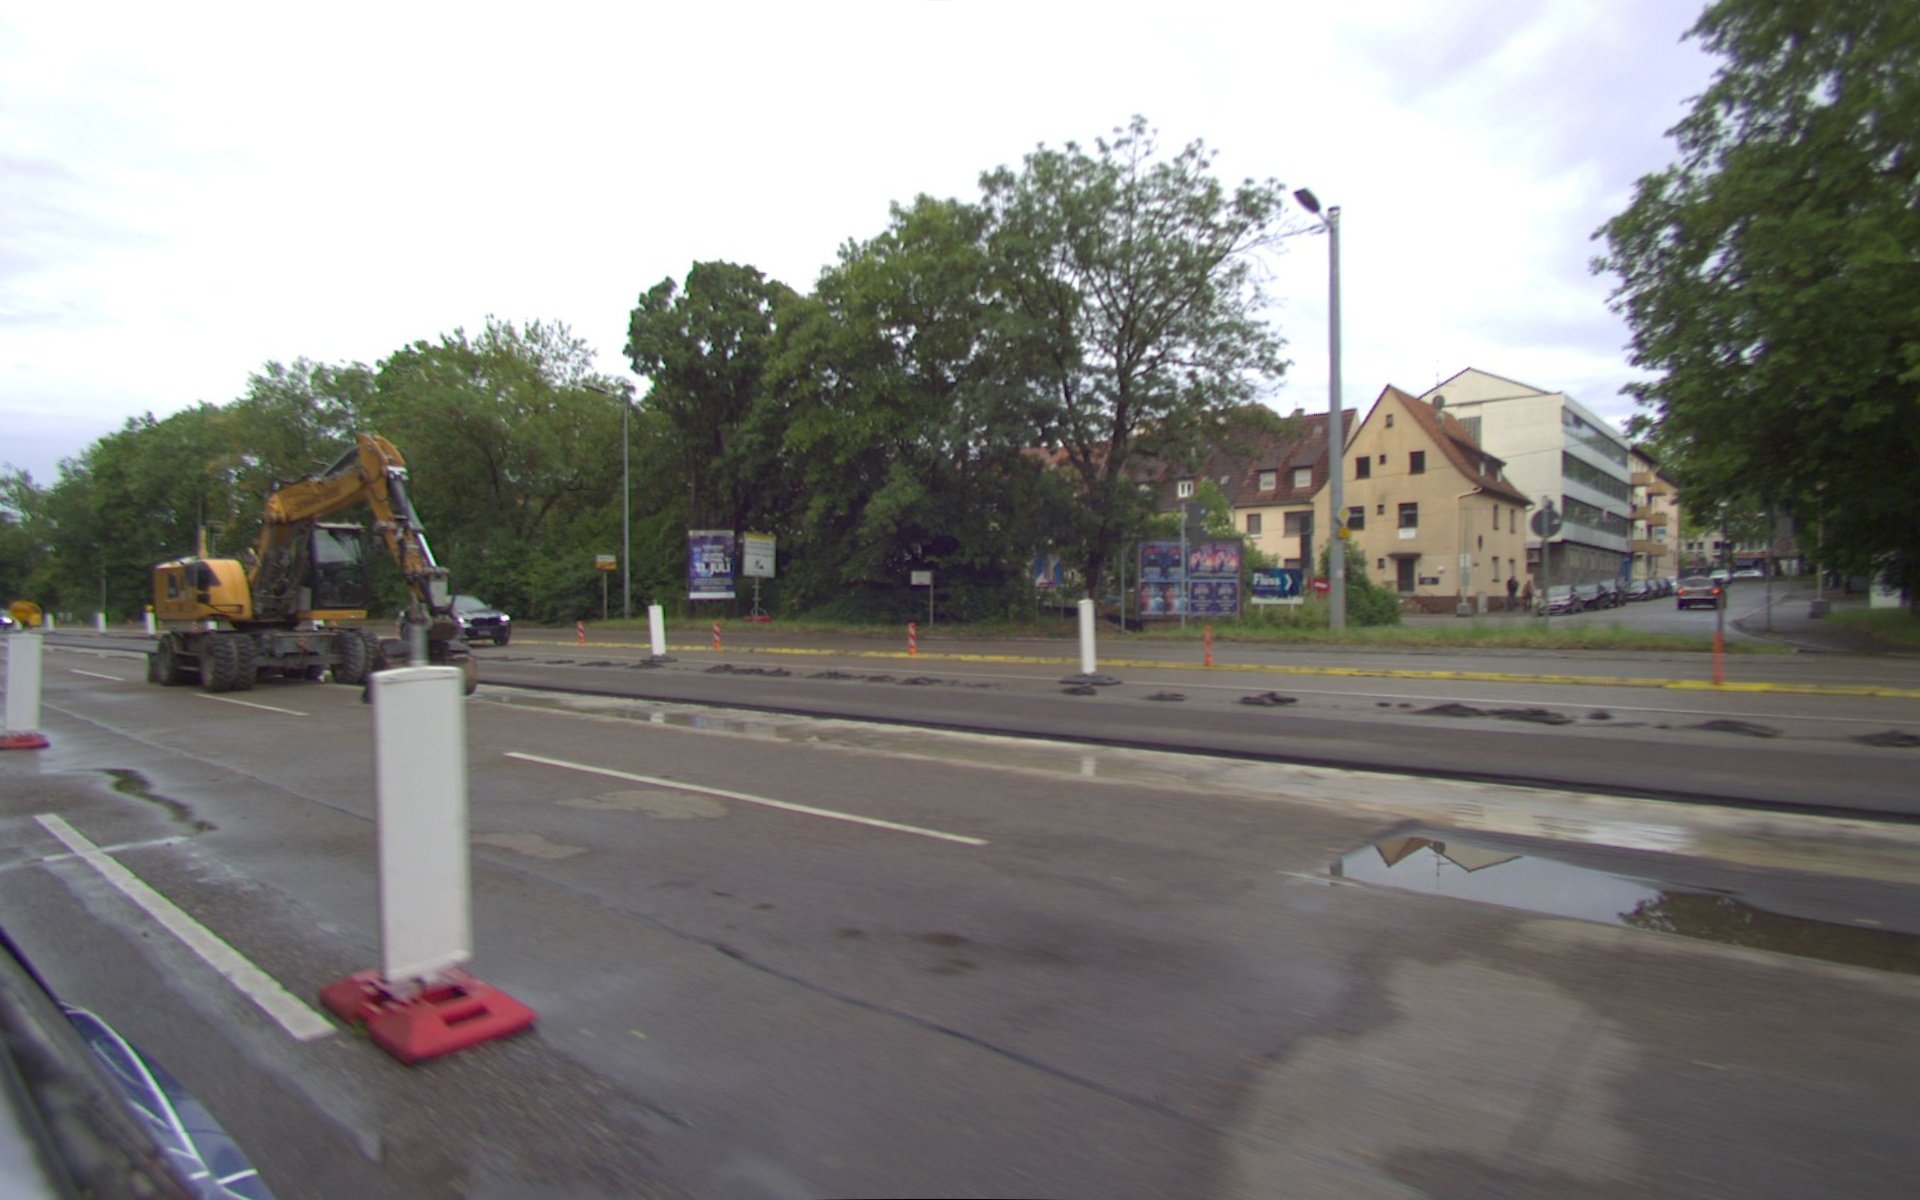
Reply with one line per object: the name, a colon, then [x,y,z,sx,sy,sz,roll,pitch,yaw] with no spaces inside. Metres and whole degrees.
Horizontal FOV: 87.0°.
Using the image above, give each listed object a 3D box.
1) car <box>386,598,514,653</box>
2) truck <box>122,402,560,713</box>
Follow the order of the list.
car: [-16.730,0.814,33.111,4.808,1.641,1.974,-1,0,40]
truck: [-11.654,-0.532,18.327,10.735,4.291,2.871,-1,1,37]
